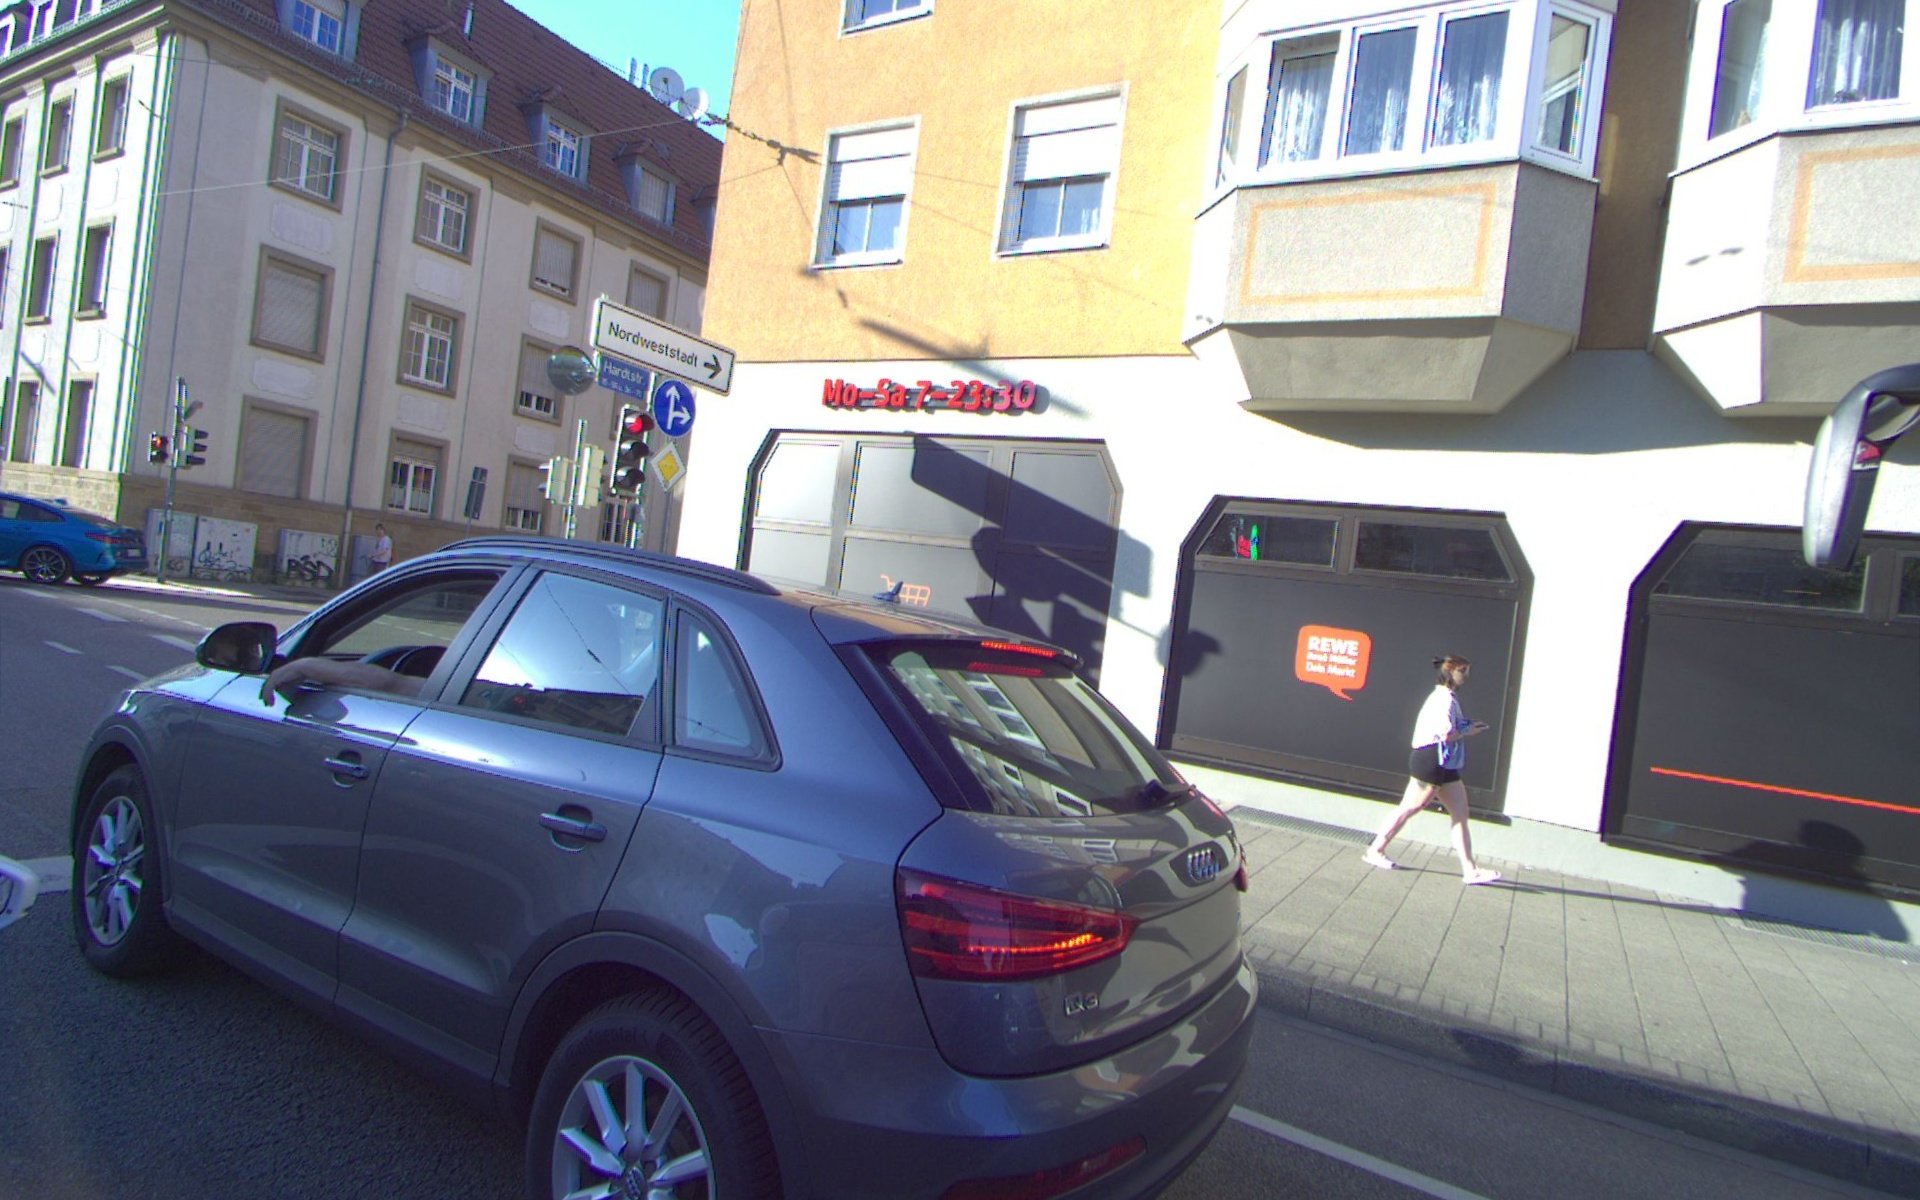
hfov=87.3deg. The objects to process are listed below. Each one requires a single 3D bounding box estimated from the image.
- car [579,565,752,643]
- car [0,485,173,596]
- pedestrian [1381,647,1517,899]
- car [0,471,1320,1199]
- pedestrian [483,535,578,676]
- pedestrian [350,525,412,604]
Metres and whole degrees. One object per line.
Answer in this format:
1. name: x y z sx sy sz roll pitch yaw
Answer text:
1. car: -7.726 0.158 26.728 1.967 1.582 3.992 6 -1 33
2. car: -16.388 -1.156 17.011 4.337 1.572 1.990 8 -2 -23
3. pedestrian: 3.441 1.176 7.097 0.656 1.603 0.580 7 1 27
4. car: -1.241 0.615 3.288 4.155 1.570 1.701 7 -2 32
5. pedestrian: -5.807 0.080 13.608 0.812 1.778 0.630 6 -1 32
6. pedestrian: -14.056 -0.859 24.432 0.810 1.782 0.837 6 -1 31
